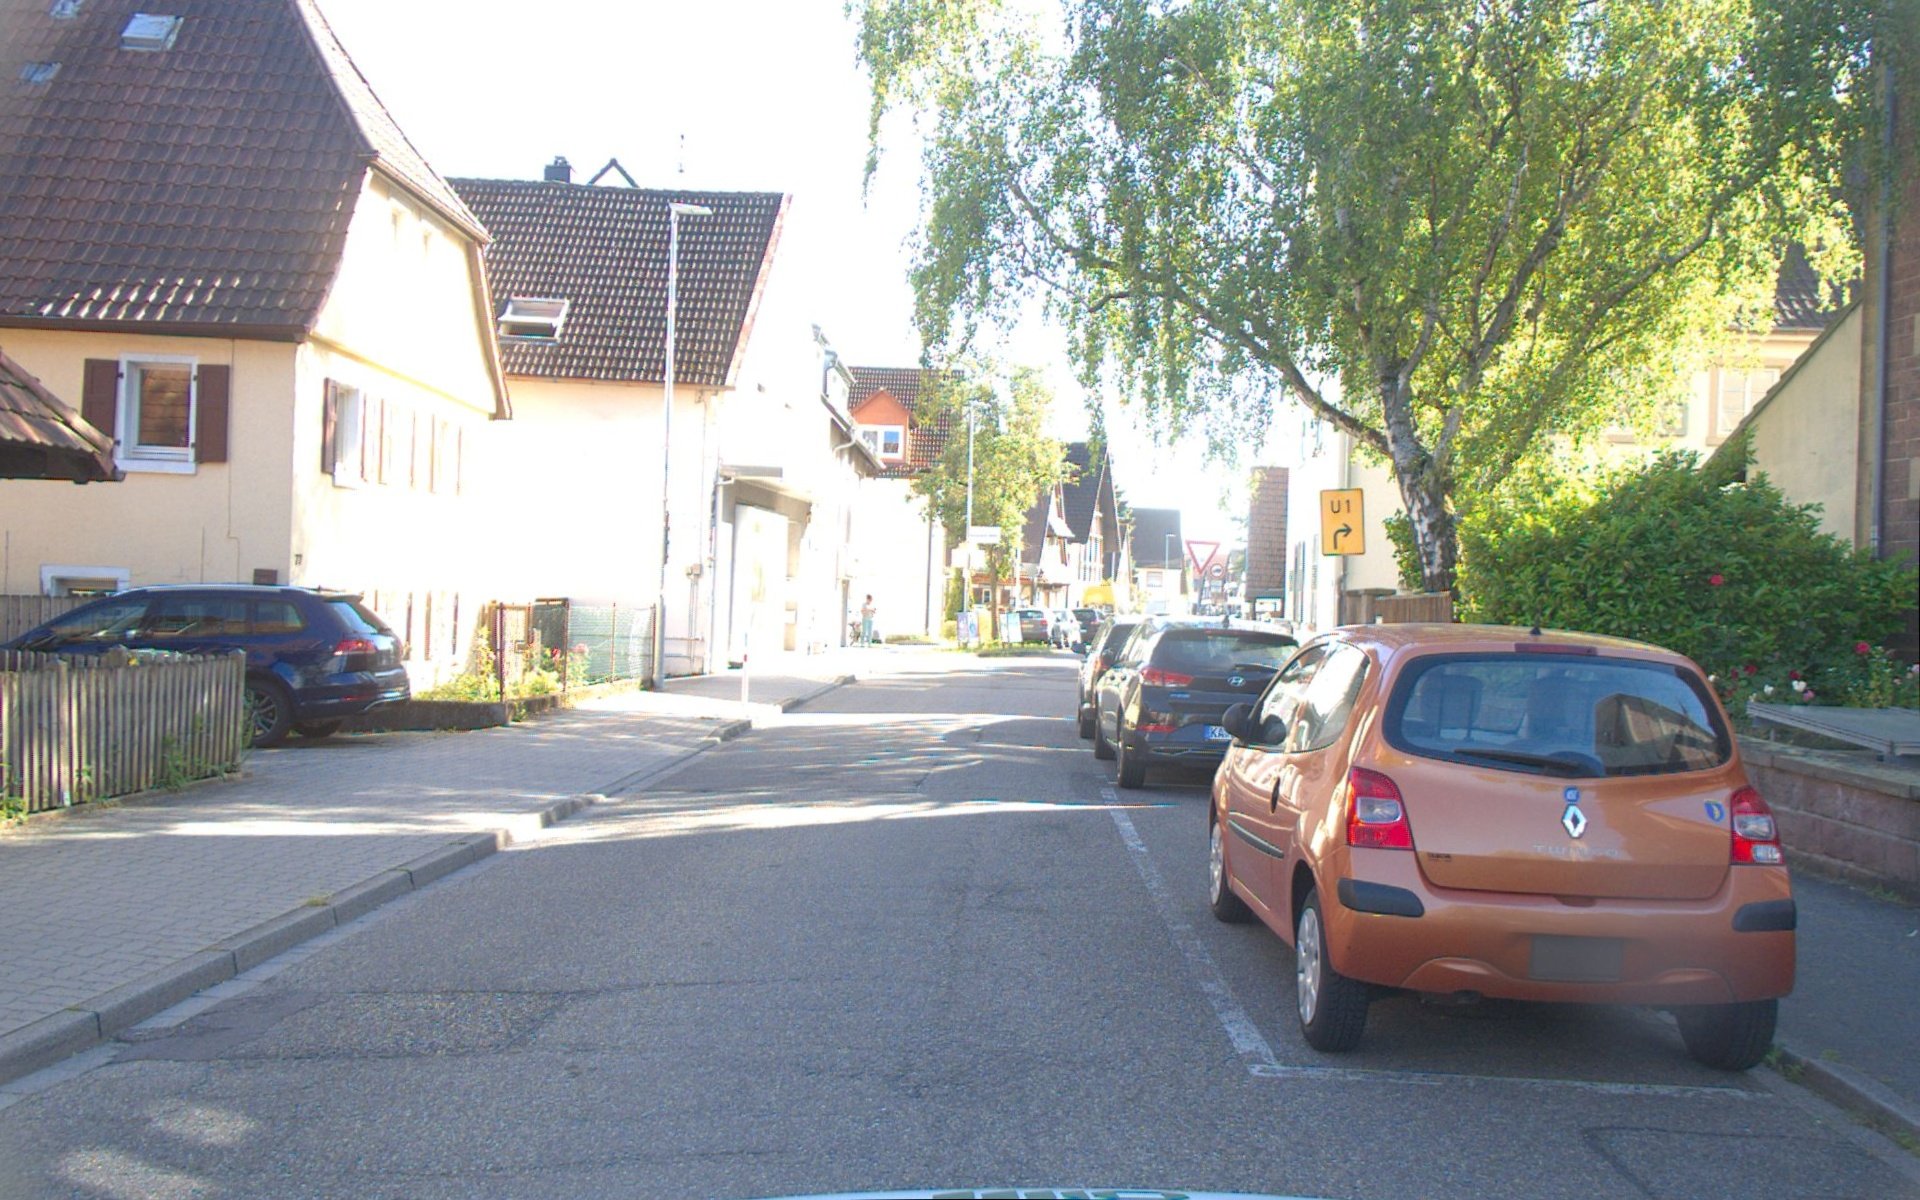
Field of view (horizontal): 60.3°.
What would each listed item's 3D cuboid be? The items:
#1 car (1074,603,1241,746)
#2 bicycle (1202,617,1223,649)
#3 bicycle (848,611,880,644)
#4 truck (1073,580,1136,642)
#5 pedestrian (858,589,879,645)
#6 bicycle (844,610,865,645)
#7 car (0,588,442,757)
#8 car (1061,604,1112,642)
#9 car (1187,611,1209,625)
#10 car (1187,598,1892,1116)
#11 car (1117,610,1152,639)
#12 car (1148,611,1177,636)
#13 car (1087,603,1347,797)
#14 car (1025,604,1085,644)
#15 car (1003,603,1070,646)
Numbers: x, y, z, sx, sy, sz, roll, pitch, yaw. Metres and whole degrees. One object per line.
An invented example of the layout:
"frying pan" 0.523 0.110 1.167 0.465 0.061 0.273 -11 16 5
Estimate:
"car" 2.321 0.821 20.235 1.769 1.461 4.288 2 0 4
"bicycle" 9.784 1.278 64.003 0.424 1.197 1.829 1 0 20
"bicycle" -3.212 0.918 55.332 0.566 1.071 2.037 1 -1 11
"truck" 7.195 0.574 81.827 2.220 2.919 5.787 2 -1 13
"pedestrian" -2.879 0.531 52.048 0.473 1.722 0.557 2 -2 8
"bicycle" -3.312 0.871 51.913 0.414 1.071 1.382 1 -1 5
"car" -7.289 0.649 15.835 4.075 1.487 1.848 -1 0 -2
"car" 5.877 1.083 76.472 1.768 1.650 3.883 2 -1 13
"car" 28.048 2.105 195.127 1.933 1.610 3.994 2 0 -1
"car" 2.050 0.786 7.044 1.614 1.504 3.934 2 0 1
"car" 9.557 1.341 90.627 1.610 1.458 3.617 2 0 10
"car" 12.695 1.446 103.548 1.554 1.468 3.617 2 0 10
"car" 2.242 0.813 15.503 1.770 1.461 4.286 2 0 1
"car" 3.920 0.987 67.747 1.768 1.532 4.110 2 -1 13
"car" 2.966 0.937 63.456 1.827 1.532 4.110 2 -1 13
